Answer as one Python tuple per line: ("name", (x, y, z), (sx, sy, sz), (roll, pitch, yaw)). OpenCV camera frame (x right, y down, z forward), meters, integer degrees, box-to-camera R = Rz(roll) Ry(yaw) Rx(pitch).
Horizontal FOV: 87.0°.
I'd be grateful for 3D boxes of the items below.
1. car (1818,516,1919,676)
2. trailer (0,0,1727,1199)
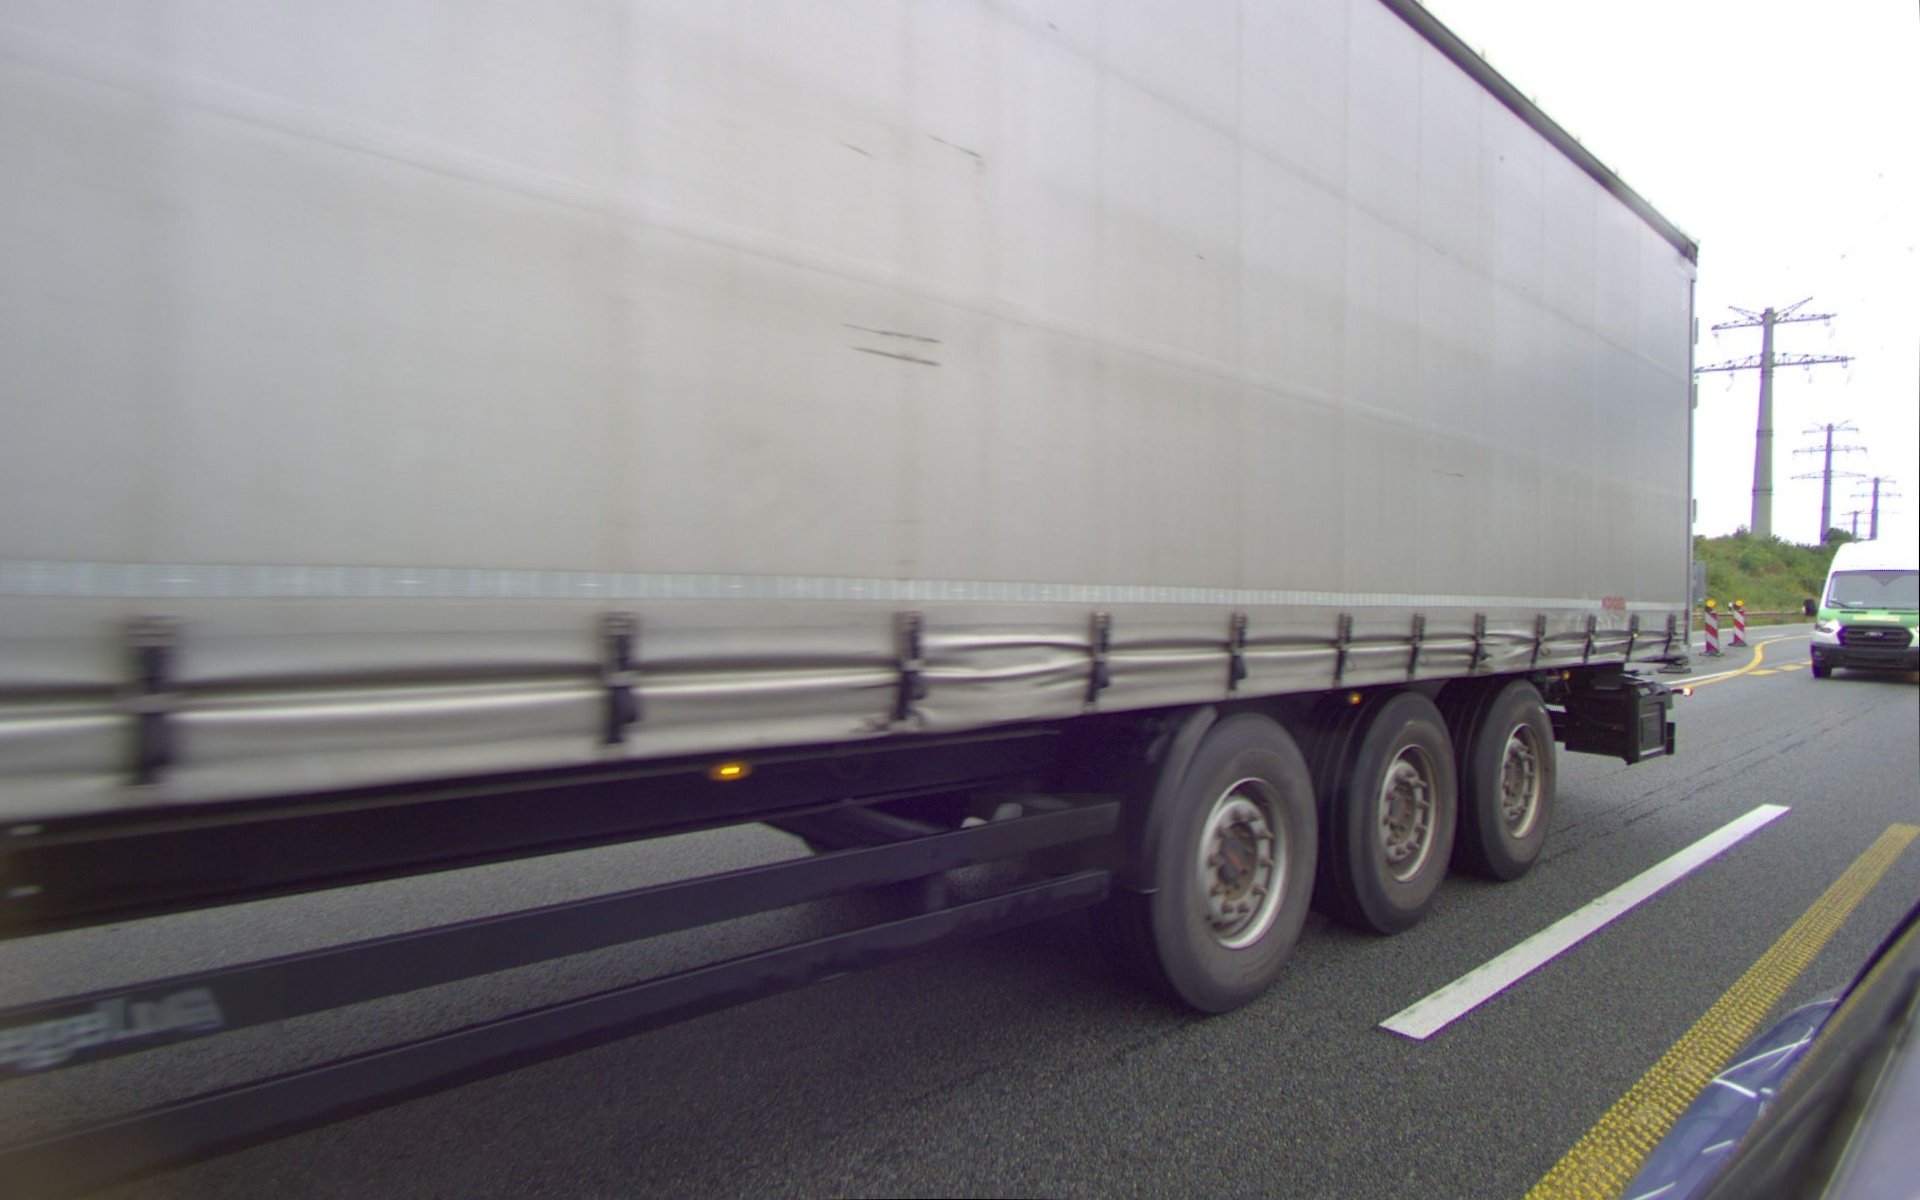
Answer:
("car", (18.716, -0.080, 19.914), (5.656, 2.817, 1.997), (0, 1, -42))
("trailer", (-0.605, -0.725, 3.705), (13.491, 4.198, 2.711), (0, 1, -41))
